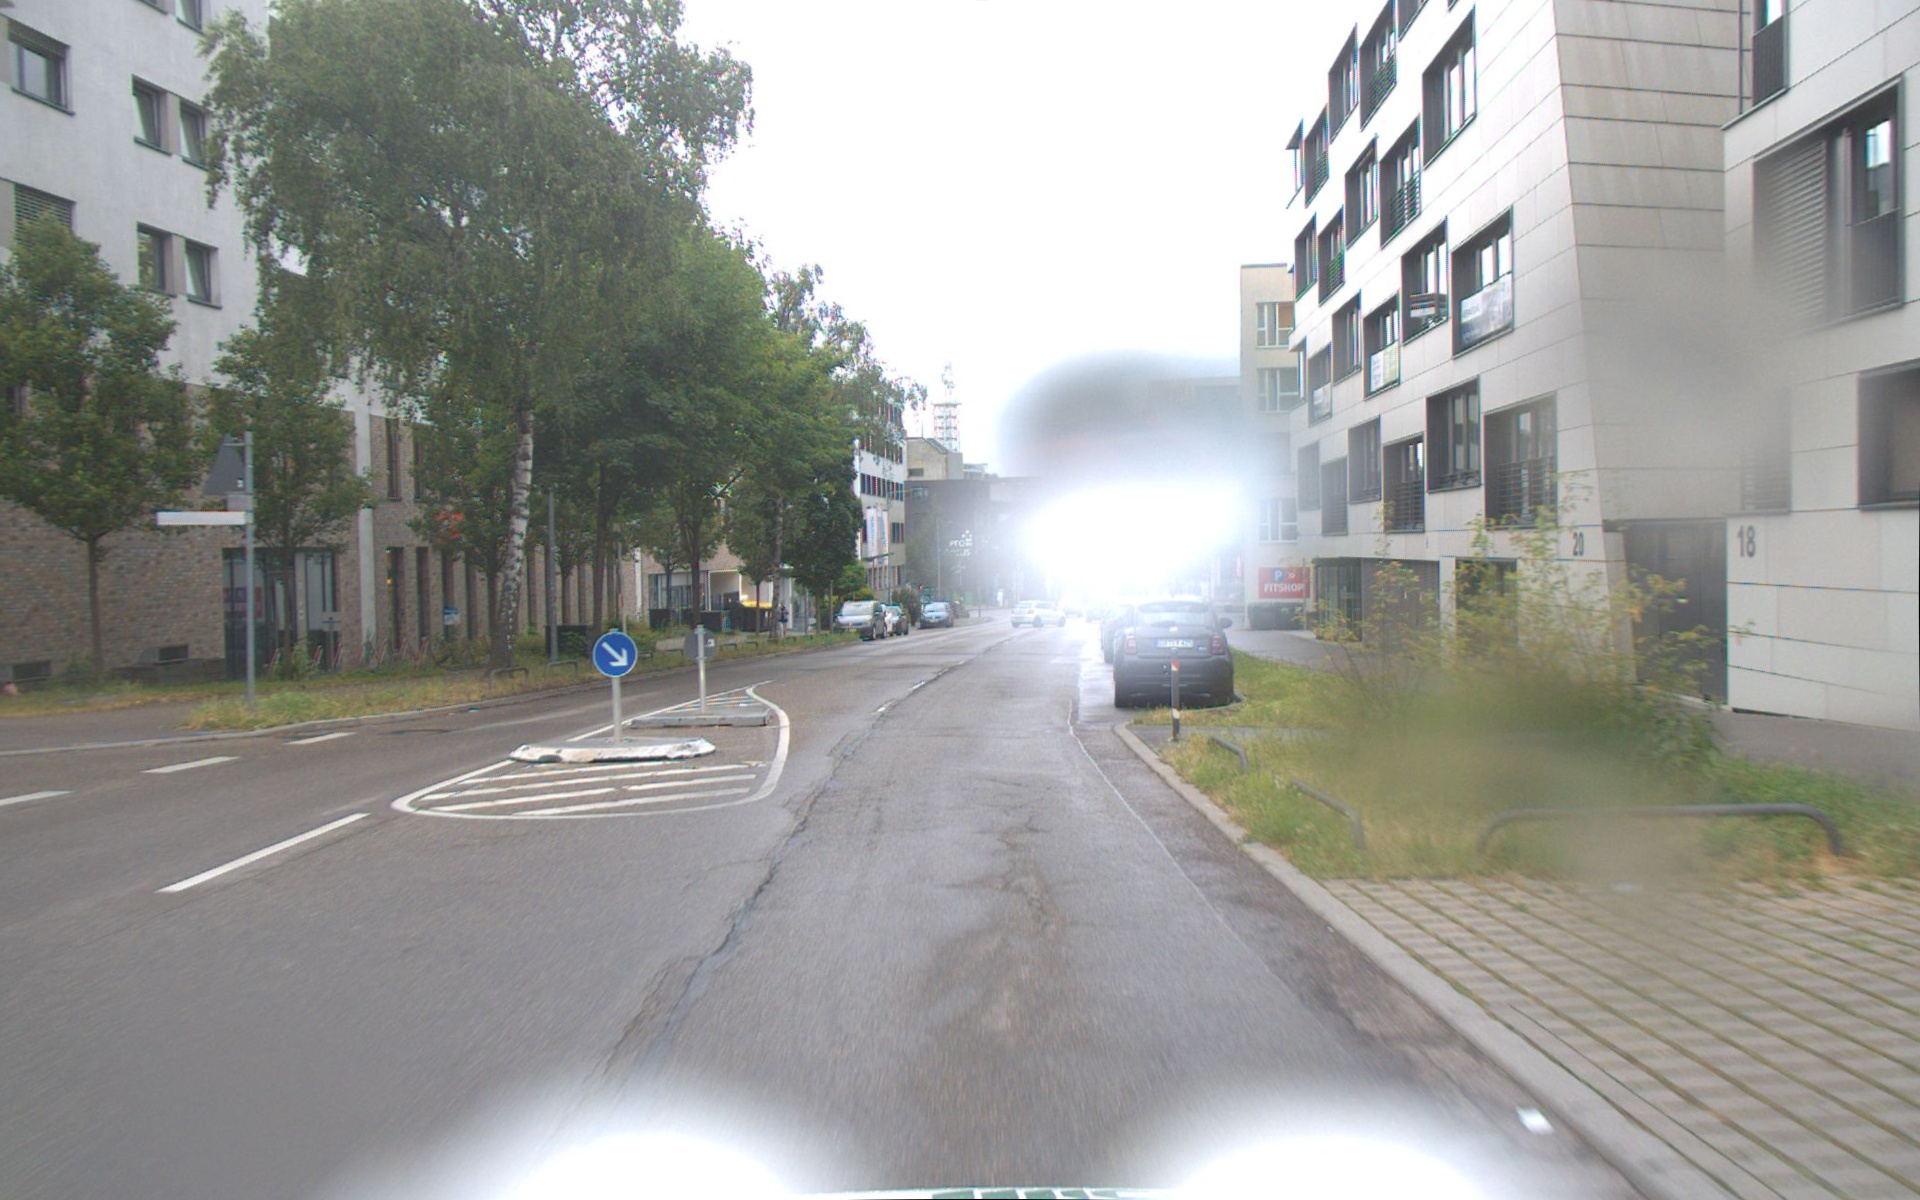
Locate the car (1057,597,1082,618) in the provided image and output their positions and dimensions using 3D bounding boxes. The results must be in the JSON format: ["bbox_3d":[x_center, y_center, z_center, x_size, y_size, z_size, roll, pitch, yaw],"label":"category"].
[{"bbox_3d":[9.334,0.665,141.103,2.096,1.758,4.001,-1,-1,4],"label":"car"}]

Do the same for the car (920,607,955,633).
[{"bbox_3d":[-1.365,1.227,100.510,1.874,1.507,4.357,-1,-1,2],"label":"car"}]

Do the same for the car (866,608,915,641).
[{"bbox_3d":[-3.377,1.219,80.996,1.758,1.543,4.248,-1,-1,7],"label":"car"}]

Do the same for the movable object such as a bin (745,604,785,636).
[{"bbox_3d":[-10.031,1.048,85.250,1.758,1.536,1.482,-3,-1,2],"label":"movable object such as a bin"}]

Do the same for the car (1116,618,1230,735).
[{"bbox_3d":[3.080,1.057,24.282,1.513,1.504,3.663,-1,0,6],"label":"car"}]

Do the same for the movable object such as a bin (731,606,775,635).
[{"bbox_3d":[-10.283,1.018,82.267,1.984,1.455,1.290,0,-1,2],"label":"movable object such as a bin"}]

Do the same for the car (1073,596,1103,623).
[{"bbox_3d":[8.733,0.659,112.297,1.951,1.780,3.675,-1,0,5],"label":"car"}]

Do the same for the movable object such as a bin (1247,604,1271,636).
[{"bbox_3d":[14.981,0.998,82.913,1.148,1.529,1.014,-1,-1,8],"label":"movable object such as a bin"}]

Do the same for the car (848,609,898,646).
[{"bbox_3d":[-3.978,1.260,76.299,1.736,1.628,4.034,-1,0,5],"label":"car"}]

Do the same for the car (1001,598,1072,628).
[{"bbox_3d":[4.358,0.753,93.637,1.964,1.604,3.973,-1,0,41],"label":"car"}]

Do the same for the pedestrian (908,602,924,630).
[{"bbox_3d":[-2.778,1.017,105.272,0.718,1.738,0.897,-1,-2,-22],"label":"pedestrian"}]

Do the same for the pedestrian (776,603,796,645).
[{"bbox_3d":[-7.304,1.010,69.545,0.694,1.712,0.957,-1,0,1],"label":"pedestrian"}]

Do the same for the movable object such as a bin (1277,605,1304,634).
[{"bbox_3d":[16.275,0.963,81.448,1.234,1.427,1.113,-1,-1,7],"label":"movable object such as a bin"}]

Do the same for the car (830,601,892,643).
[{"bbox_3d":[-4.183,0.929,70.627,2.034,1.637,4.688,-2,0,4],"label":"car"}]

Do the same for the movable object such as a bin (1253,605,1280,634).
[{"bbox_3d":[14.943,0.964,80.664,1.209,1.343,1.192,-2,-1,7],"label":"movable object such as a bin"}]

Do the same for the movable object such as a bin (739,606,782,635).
[{"bbox_3d":[-10.086,1.034,83.707,2.011,1.448,1.317,0,-1,2],"label":"movable object such as a bin"}]
